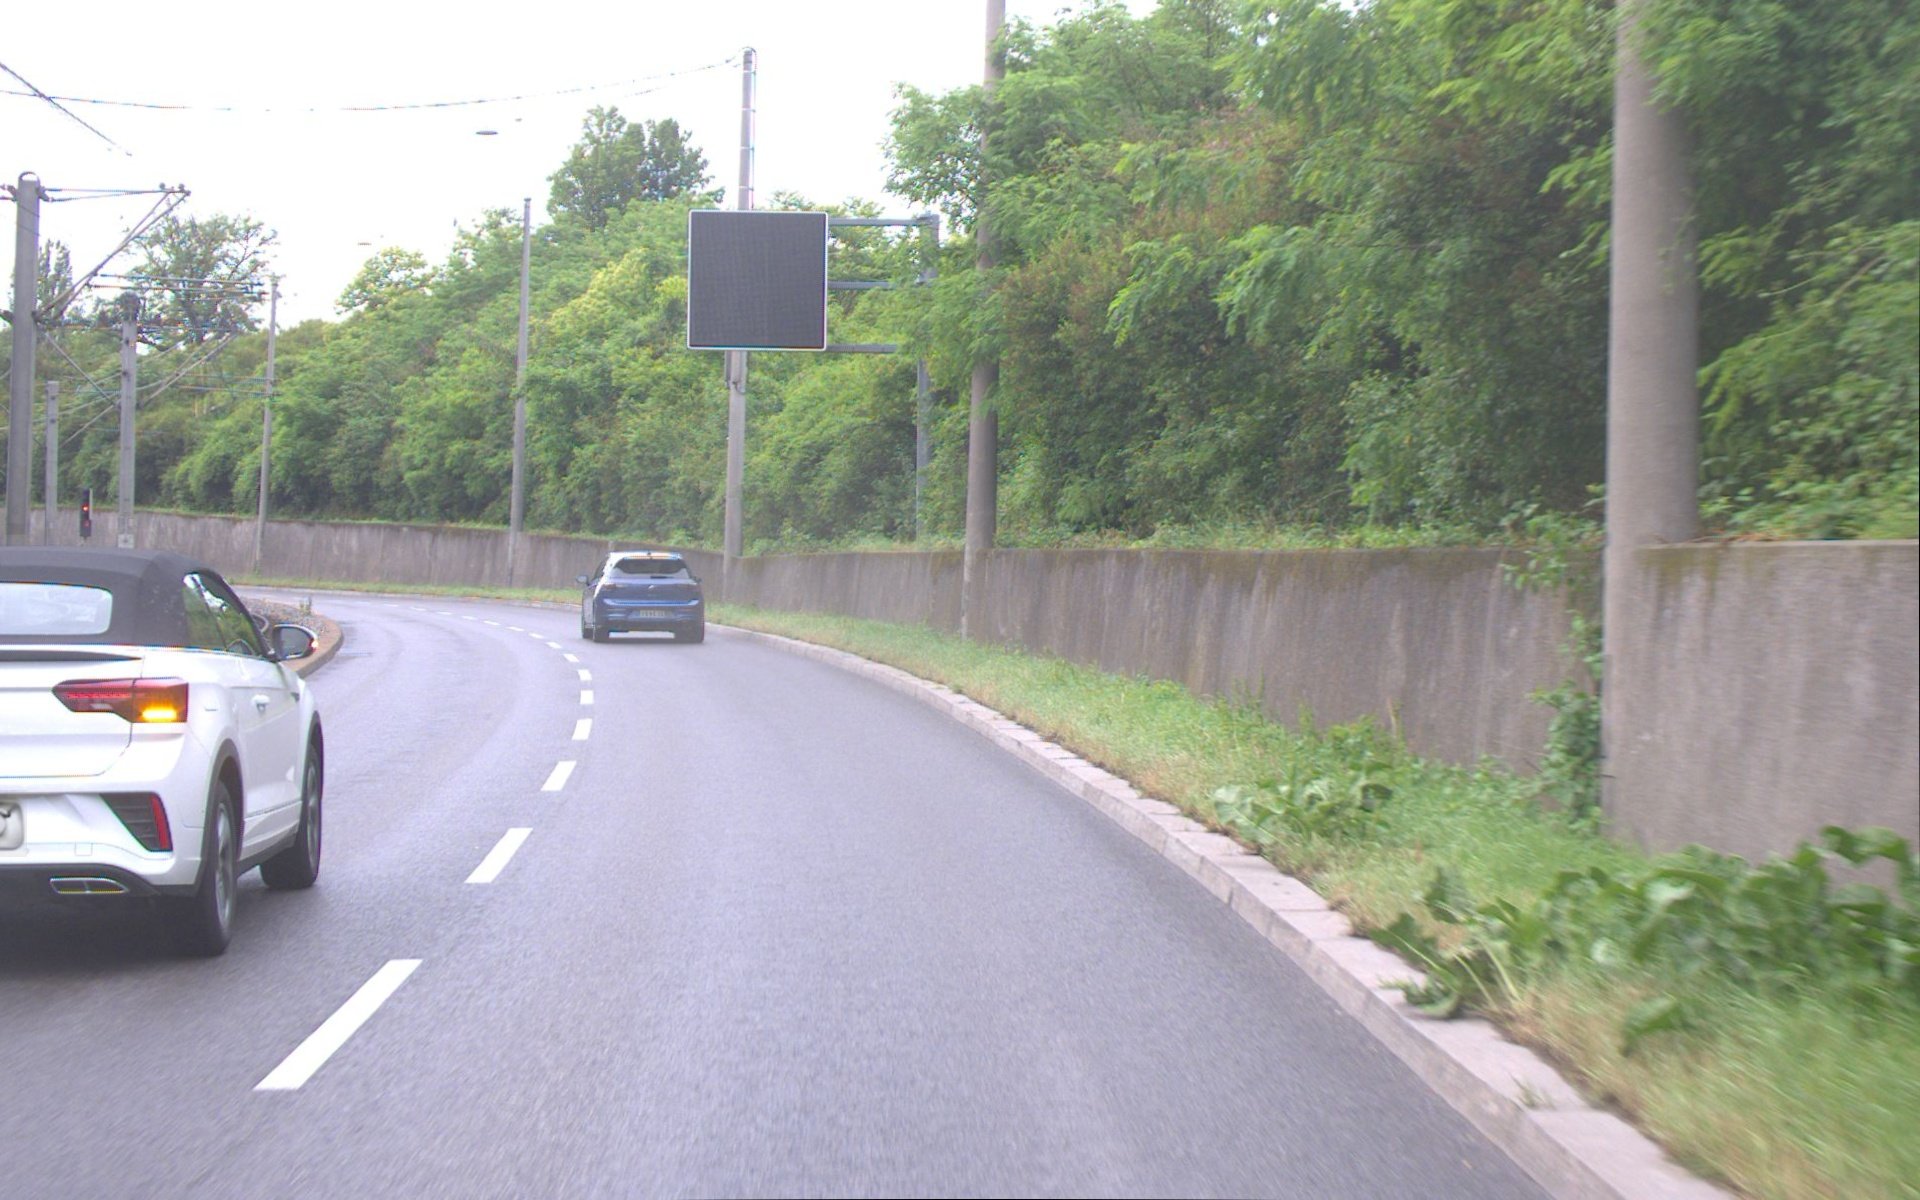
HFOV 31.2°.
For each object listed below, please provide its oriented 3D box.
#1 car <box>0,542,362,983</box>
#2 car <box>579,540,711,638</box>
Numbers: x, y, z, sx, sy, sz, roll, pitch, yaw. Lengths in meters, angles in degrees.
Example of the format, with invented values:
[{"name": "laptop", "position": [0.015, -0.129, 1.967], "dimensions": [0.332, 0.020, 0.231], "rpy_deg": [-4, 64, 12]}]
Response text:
[{"name": "car", "position": [-3.667, 0.523, 14.094], "dimensions": [1.871, 1.519, 4.541], "rpy_deg": [0, 1, -3]}, {"name": "car", "position": [-5.131, -0.189, 55.652], "dimensions": [1.763, 1.496, 4.001], "rpy_deg": [1, 0, -10]}]
